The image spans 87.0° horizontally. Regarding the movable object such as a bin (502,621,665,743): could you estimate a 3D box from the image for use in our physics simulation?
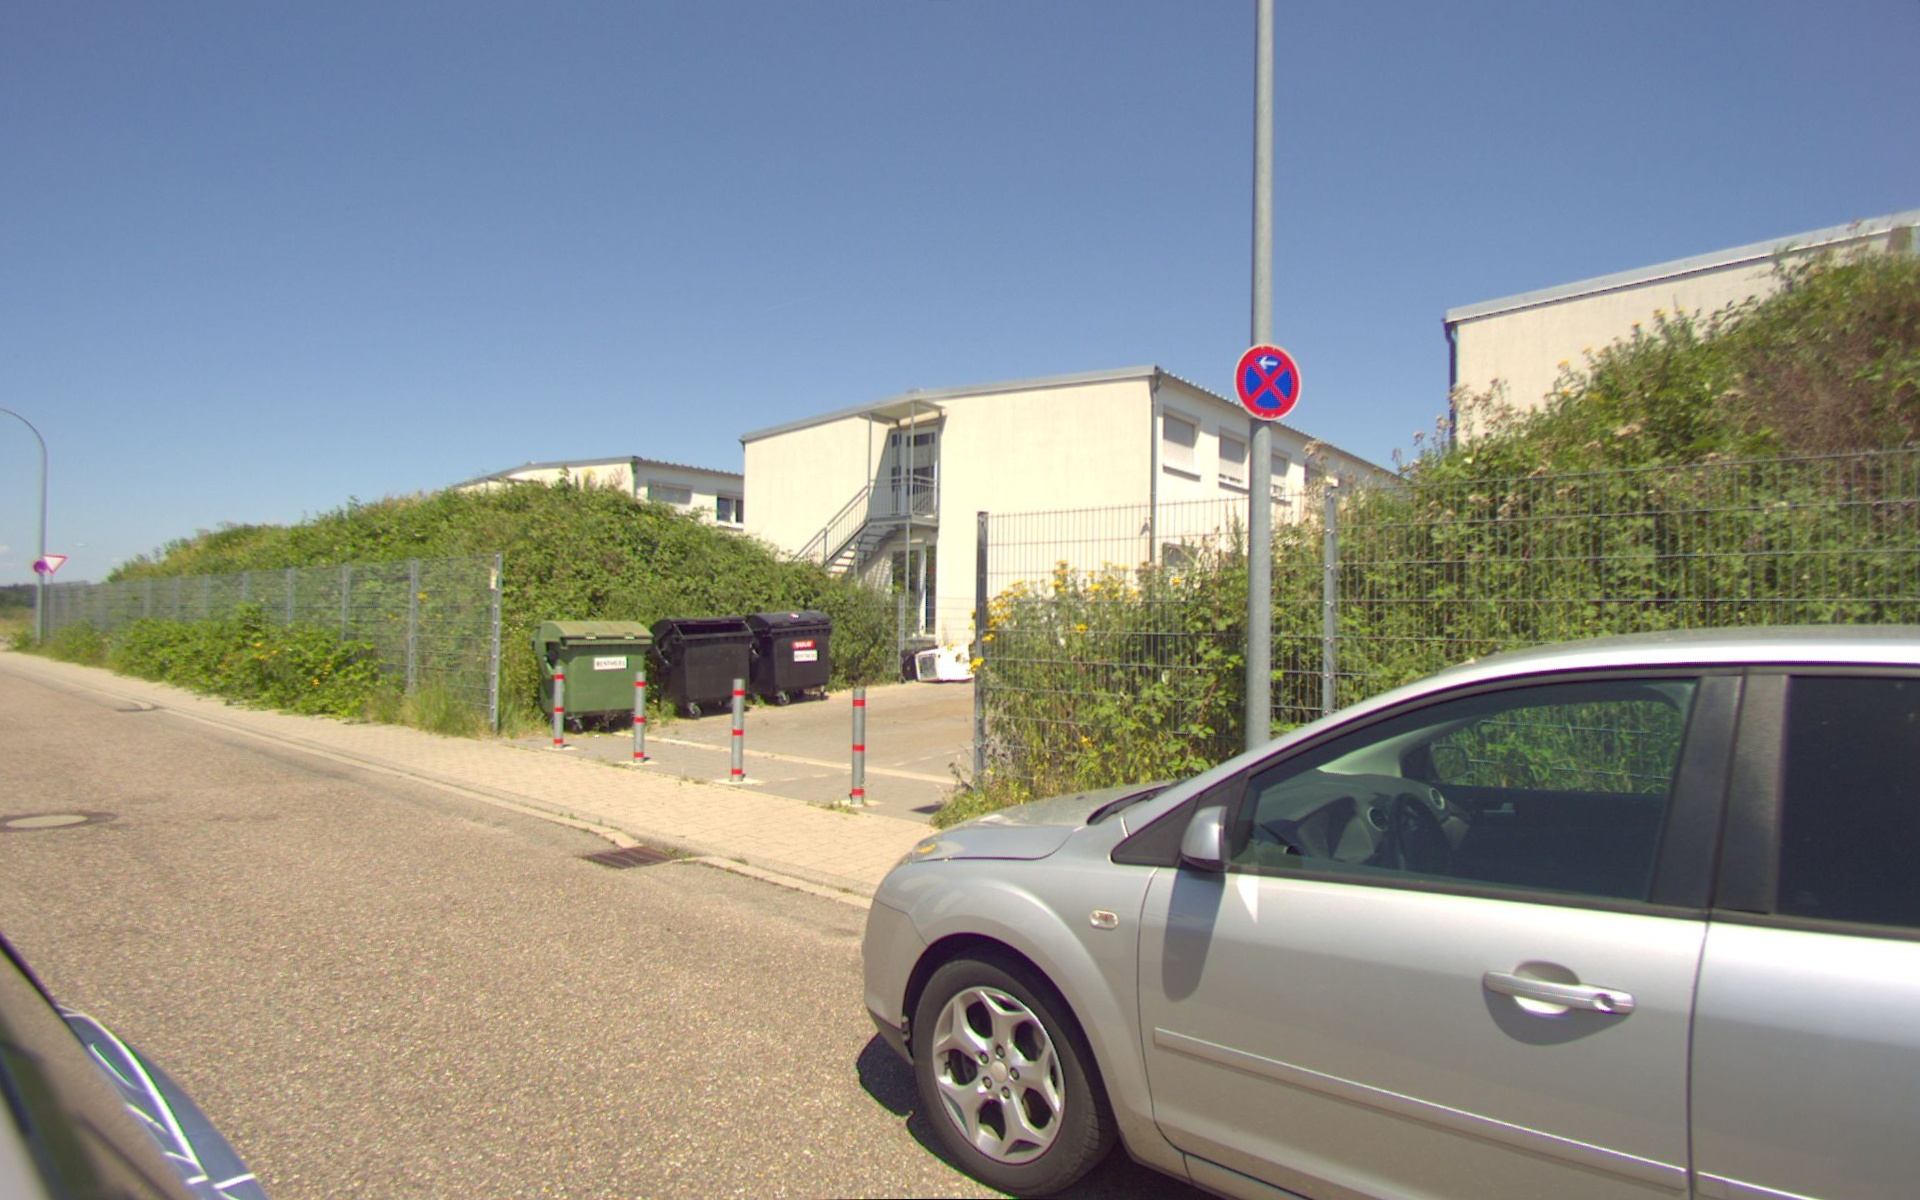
[{"bbox_3d":[-5.026,1.035,13.494,1.838,1.488,1.290,-1,-2,41],"label":"movable object such as a bin"}]

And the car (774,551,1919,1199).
[{"bbox_3d":[1.682,0.746,2.356,4.364,1.558,1.815,-1,-3,41],"label":"car"}]

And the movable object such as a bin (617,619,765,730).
[{"bbox_3d":[-4.025,1.058,15.116,1.765,1.476,1.335,-1,1,41],"label":"movable object such as a bin"}]

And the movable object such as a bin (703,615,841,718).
[{"bbox_3d":[-3.010,1.009,16.209,1.765,1.476,1.335,-1,1,41],"label":"movable object such as a bin"}]
